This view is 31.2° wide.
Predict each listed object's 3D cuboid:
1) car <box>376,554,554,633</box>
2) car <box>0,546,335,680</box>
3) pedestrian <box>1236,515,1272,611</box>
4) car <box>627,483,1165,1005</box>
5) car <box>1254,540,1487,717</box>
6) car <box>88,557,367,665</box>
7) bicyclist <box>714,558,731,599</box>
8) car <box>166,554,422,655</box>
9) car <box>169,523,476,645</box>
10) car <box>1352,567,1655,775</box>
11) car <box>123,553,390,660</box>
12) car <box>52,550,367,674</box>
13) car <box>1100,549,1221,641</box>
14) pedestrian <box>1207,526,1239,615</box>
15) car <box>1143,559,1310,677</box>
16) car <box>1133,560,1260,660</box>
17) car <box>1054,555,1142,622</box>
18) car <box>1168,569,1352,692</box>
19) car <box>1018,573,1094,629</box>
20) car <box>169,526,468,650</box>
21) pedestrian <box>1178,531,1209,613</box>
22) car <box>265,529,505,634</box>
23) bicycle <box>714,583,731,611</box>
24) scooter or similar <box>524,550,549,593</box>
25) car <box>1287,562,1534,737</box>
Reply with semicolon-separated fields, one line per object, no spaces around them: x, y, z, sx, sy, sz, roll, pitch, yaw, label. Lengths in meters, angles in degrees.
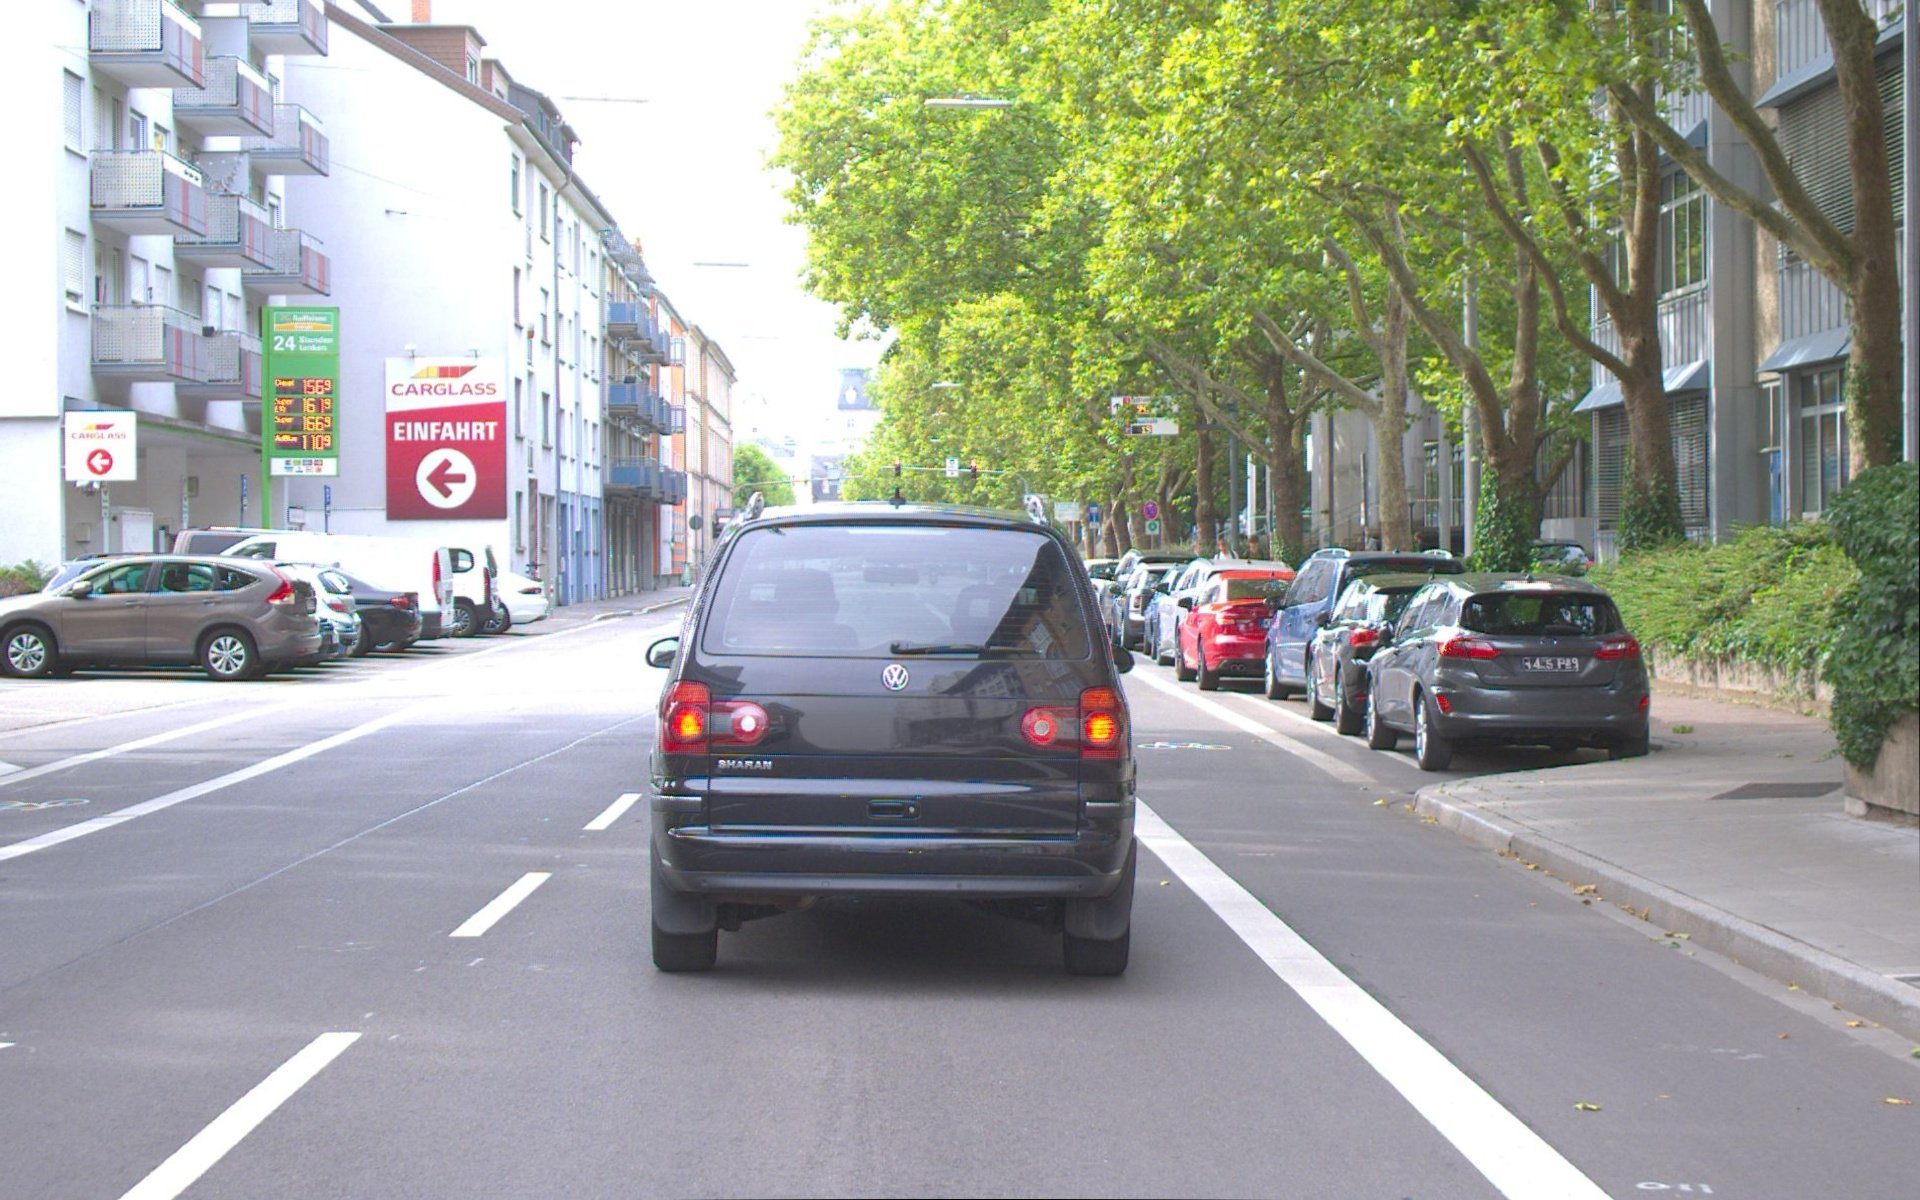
-9.818;-0.137;68.343;3.342;1.491;1.596;1;0;-3;car
-10.572;0.155;45.432;4.256;1.600;1.968;1;2;0;car
6.130;-0.768;71.734;0.643;1.968;0.692;1;2;0;pedestrian
-0.281;0.471;13.545;1.812;1.760;3.738;0;1;-2;car
4.247;0.242;36.149;1.657;1.645;4.421;2;2;-3;car
-10.603;0.149;49.937;3.681;1.422;1.753;2;1;-2;car
-9.403;-0.855;135.934;0.653;1.606;0.656;1;-2;-4;bicyclist
-10.431;0.053;54.030;3.682;1.439;1.753;2;1;-1;car
-10.972;-0.288;59.451;4.916;1.897;2.000;2;1;-1;car
4.177;0.499;26.939;1.657;1.417;3.867;-1;2;-2;car
-10.638;0.083;52.170;3.681;1.480;1.753;2;1;-2;car
-10.396;0.152;47.783;3.941;1.564;1.753;2;1;1;car
3.308;-0.107;57.387;1.629;1.465;4.318;0;1;-2;car
5.516;-0.624;72.089;0.587;1.832;0.692;1;2;0;pedestrian
3.607;0.209;47.229;1.727;1.511;4.872;1;1;-2;car
3.561;0.129;52.369;1.622;1.381;4.000;2;1;0;car
3.015;-0.279;75.937;1.675;1.389;4.461;2;1;-1;car
3.571;0.332;41.614;1.675;1.389;4.461;0;1;-2;car
2.545;0.016;91.525;1.641;1.409;3.417;0;1;-5;car
-10.575;-0.212;56.897;4.526;1.872;2.047;2;1;0;car
4.892;-0.582;72.022;0.587;1.696;0.508;1;2;0;pedestrian
-11.001;-0.366;66.013;4.307;1.863;1.824;2;1;-2;car
-9.350;-0.128;135.524;0.631;1.030;2.015;1;-2;-4;bicycle
-11.003;-0.738;89.379;0.631;1.030;2.015;1;-1;-7;scooter or similar
4.095;0.410;31.774;1.657;1.417;3.947;-1;2;-2;car
